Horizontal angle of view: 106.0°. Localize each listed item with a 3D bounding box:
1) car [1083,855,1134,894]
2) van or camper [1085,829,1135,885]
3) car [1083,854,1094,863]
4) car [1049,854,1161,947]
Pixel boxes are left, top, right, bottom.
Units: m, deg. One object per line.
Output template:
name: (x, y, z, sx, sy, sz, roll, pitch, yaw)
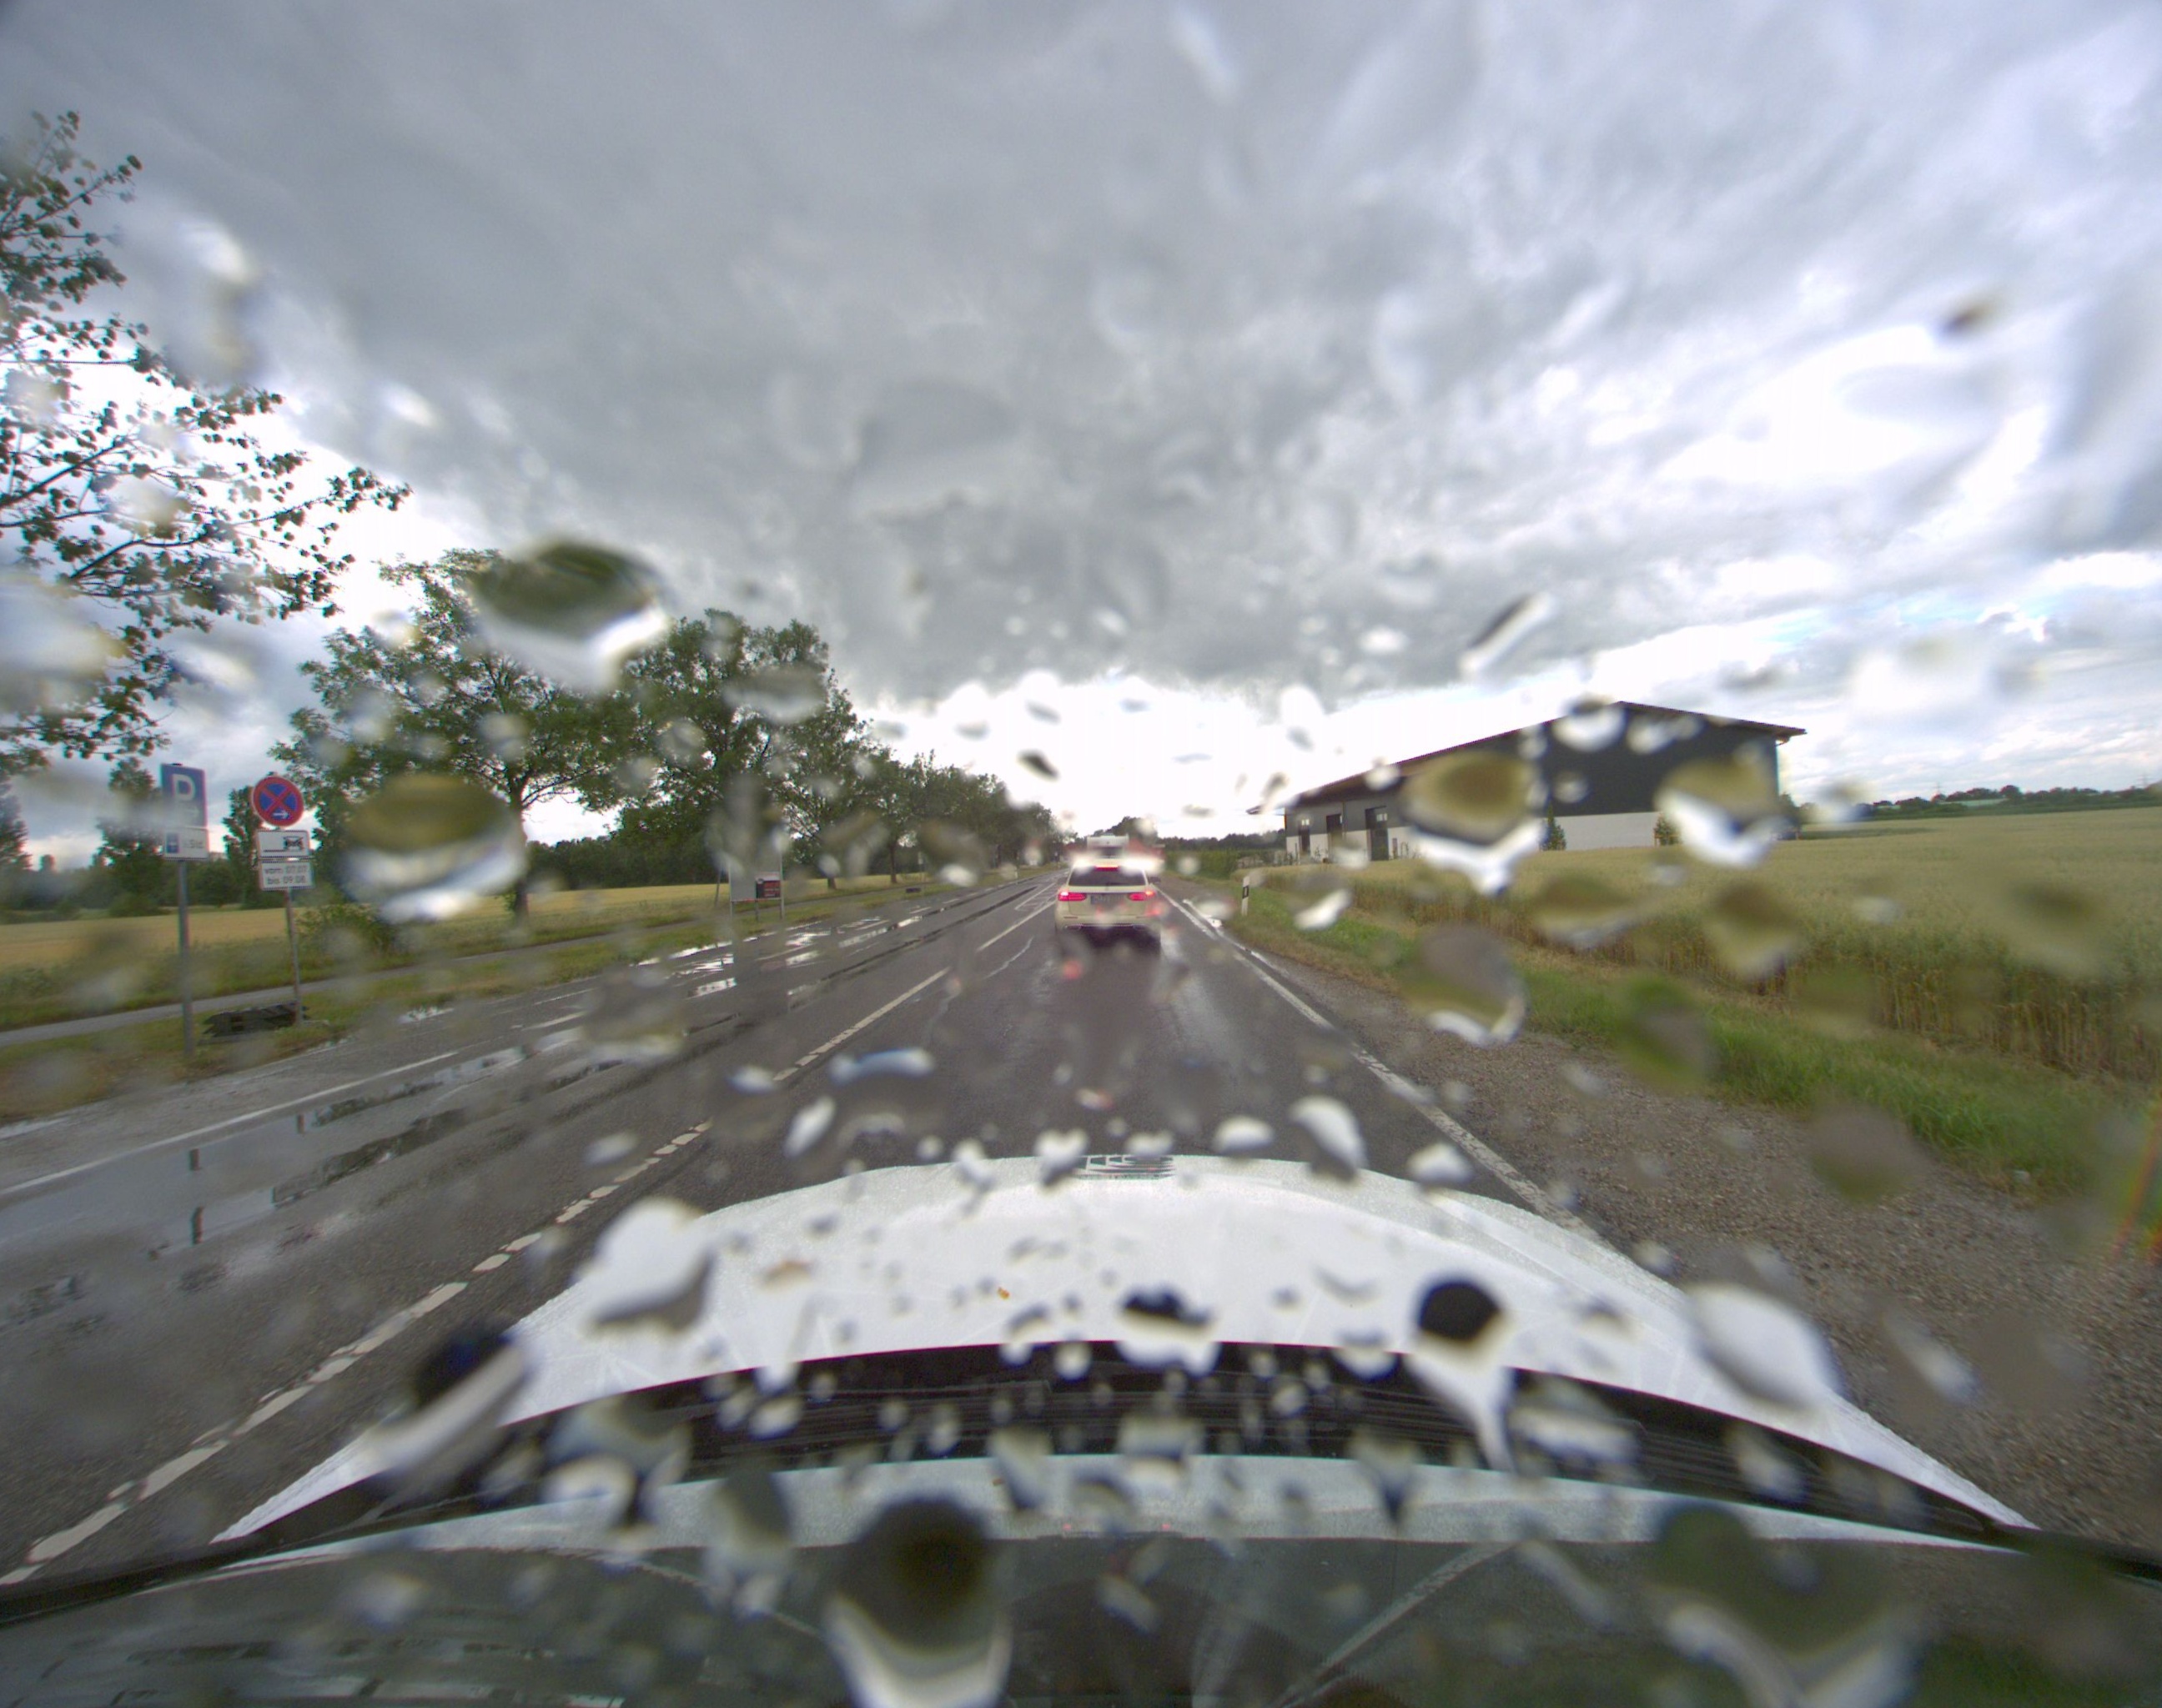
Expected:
car: (1.091, 0.789, 32.728, 1.887, 1.429, 3.929, -2, 0, 1)
van or camper: (1.686, 0.182, 46.231, 2.487, 2.831, 5.938, -3, 0, 3)
car: (1.524, 0.914, 164.869, 1.909, 1.632, 4.359, -4, 0, 2)
car: (0.478, 0.751, 15.194, 1.790, 1.464, 4.033, -1, 0, 2)
